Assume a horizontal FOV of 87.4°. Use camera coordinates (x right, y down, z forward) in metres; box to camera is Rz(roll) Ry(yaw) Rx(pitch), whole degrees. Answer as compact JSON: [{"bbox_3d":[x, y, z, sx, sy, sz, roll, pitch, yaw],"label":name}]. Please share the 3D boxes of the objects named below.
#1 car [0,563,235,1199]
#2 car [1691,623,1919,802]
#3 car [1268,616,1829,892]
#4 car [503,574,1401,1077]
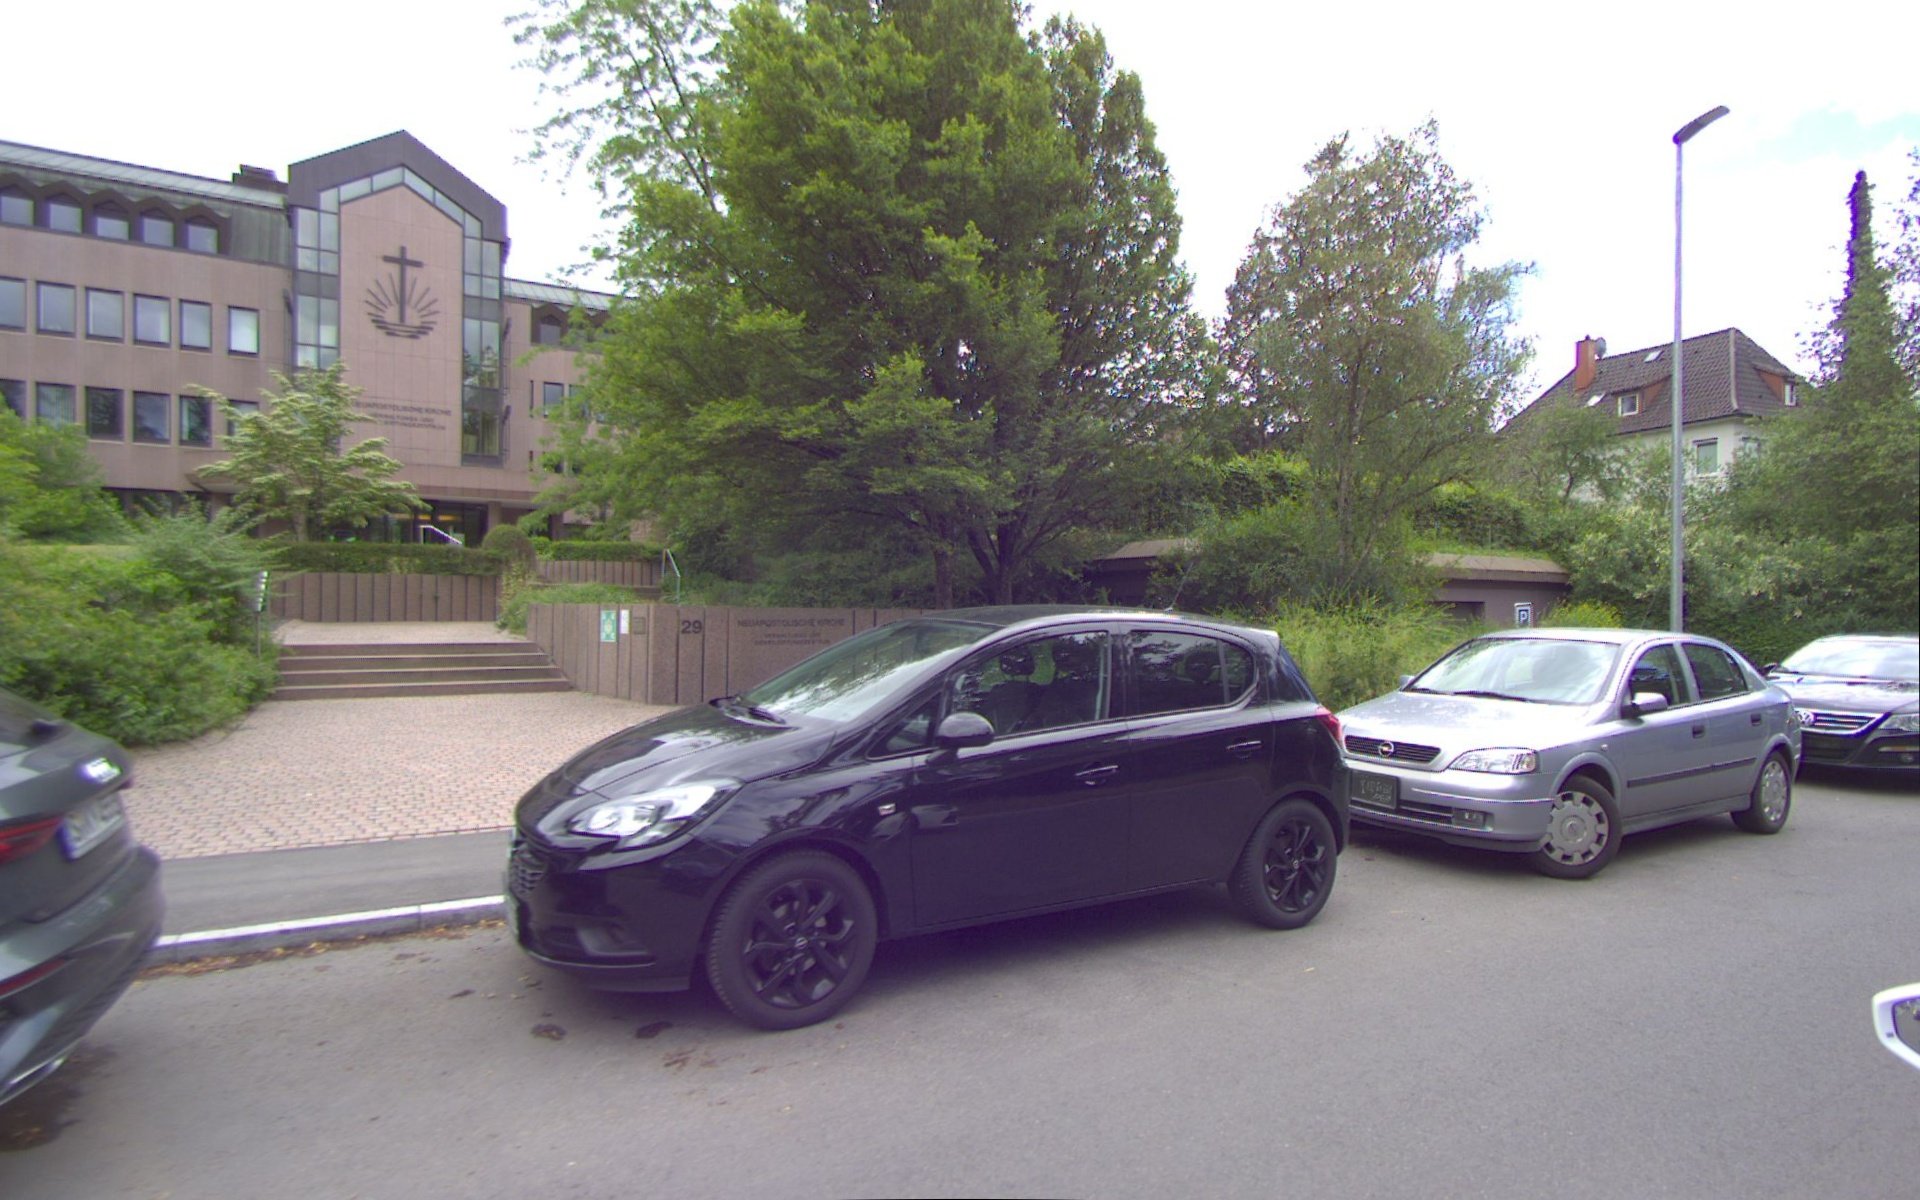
[{"bbox_3d":[-4.192,0.639,1.828,4.442,1.502,1.699,1,-1,-30],"label":"car"},{"bbox_3d":[9.792,1.016,10.430,5.047,1.451,1.769,2,0,-31],"label":"car"},{"bbox_3d":[4.297,0.874,7.123,4.302,1.451,1.616,2,-1,-31],"label":"car"},{"bbox_3d":[0.104,0.731,4.719,3.953,1.502,1.616,2,-1,-30],"label":"car"}]
